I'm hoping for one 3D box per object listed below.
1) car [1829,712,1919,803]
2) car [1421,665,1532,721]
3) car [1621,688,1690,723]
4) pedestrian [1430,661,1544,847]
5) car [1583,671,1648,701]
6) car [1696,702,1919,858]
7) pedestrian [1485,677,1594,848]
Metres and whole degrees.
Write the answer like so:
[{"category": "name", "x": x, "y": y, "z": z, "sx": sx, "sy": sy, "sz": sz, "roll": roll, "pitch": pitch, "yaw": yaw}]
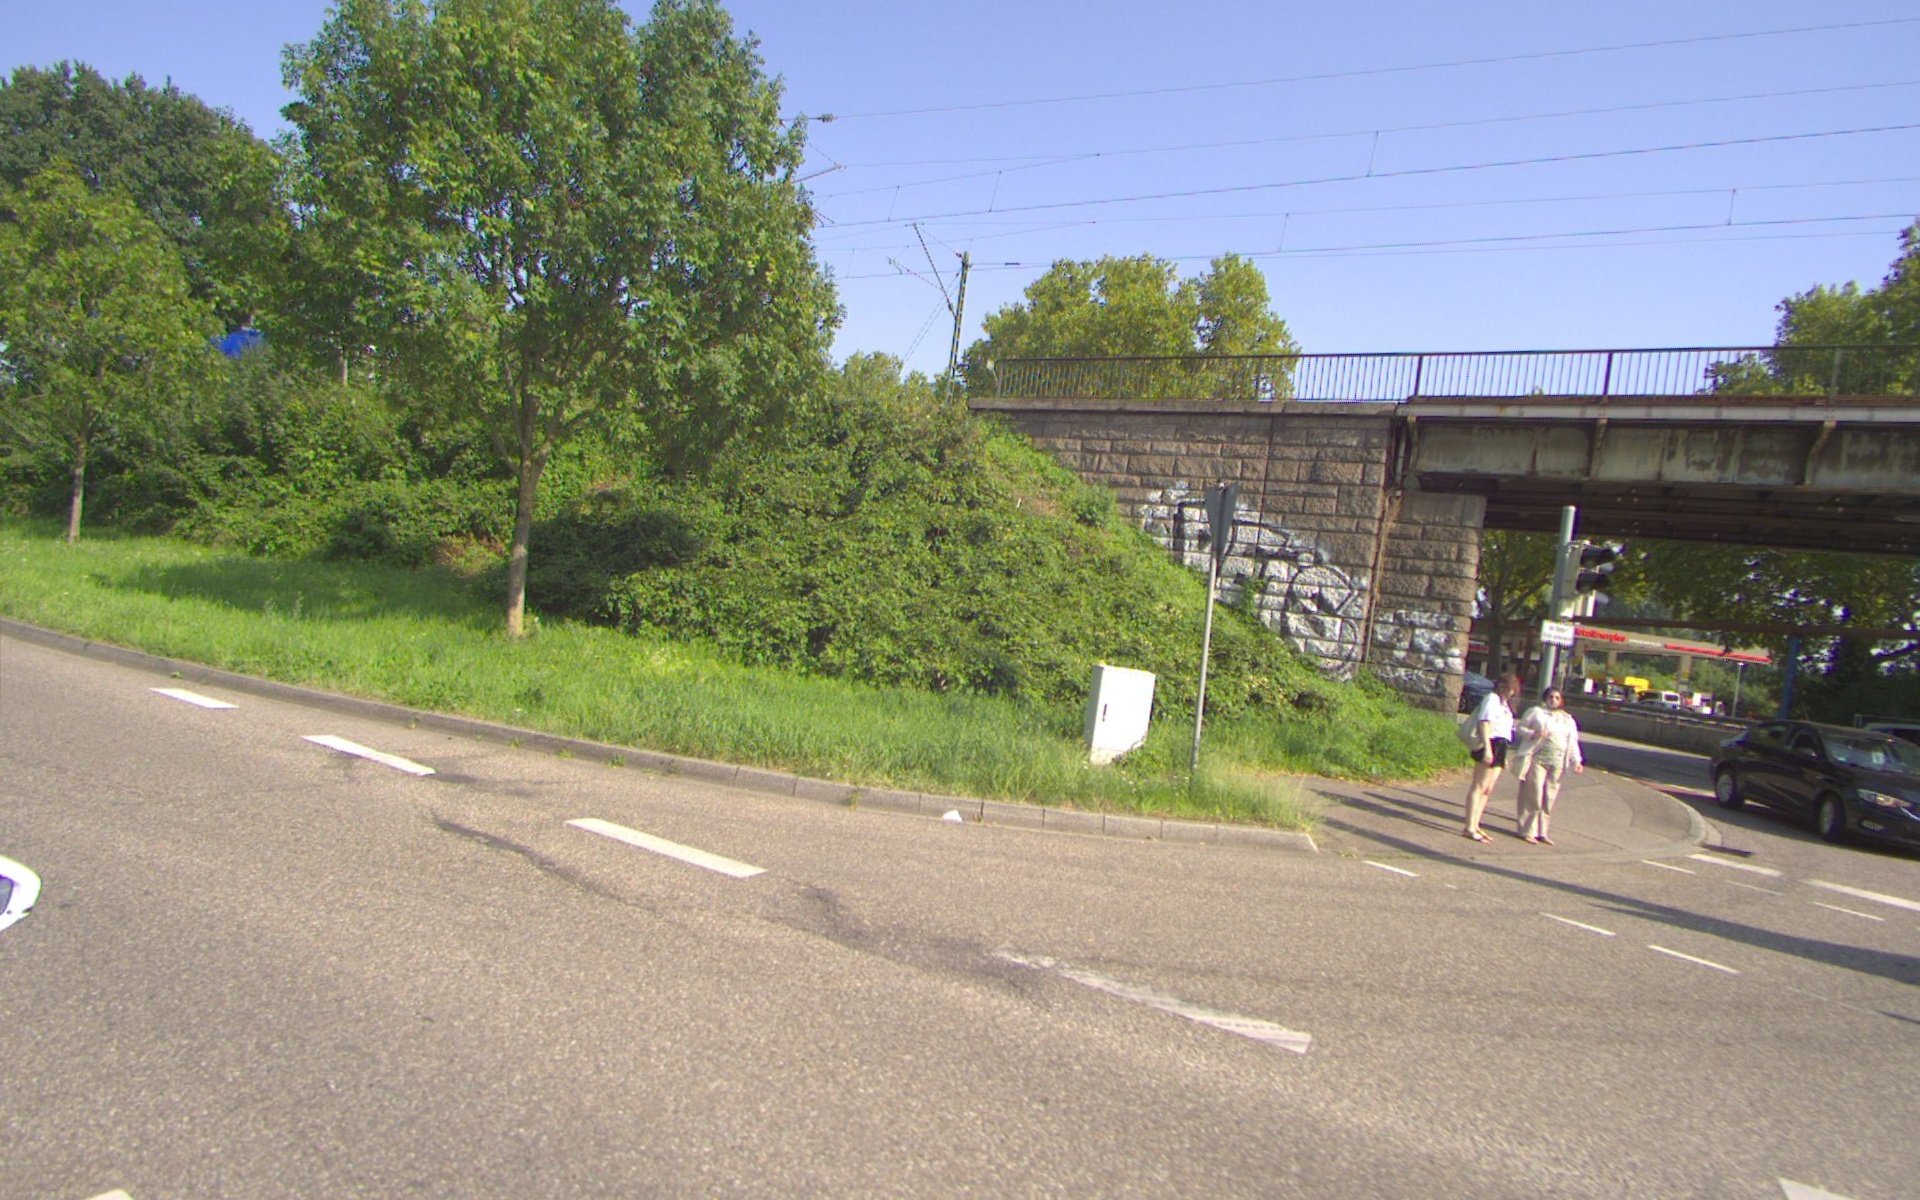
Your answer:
[{"category": "car", "x": 20.392, "y": 3.394, "z": 20.202, "sx": 1.974, "sy": 1.637, "sz": 4.215, "roll": 7, "pitch": 0, "yaw": -2}, {"category": "car", "x": 18.906, "y": 3.374, "z": 37.038, "sx": 1.767, "sy": 1.529, "sz": 3.998, "roll": 6, "pitch": 0, "yaw": -2}, {"category": "car", "x": 53.166, "y": 8.008, "z": 76.996, "sx": 2.091, "sy": 2.038, "sz": 3.997, "roll": 7, "pitch": 0, "yaw": -4}, {"category": "pedestrian", "x": 5.163, "y": 1.503, "z": 9.879, "sx": 0.563, "sy": 1.705, "sz": 0.490, "roll": 7, "pitch": 5, "yaw": -18}, {"category": "car", "x": 58.809, "y": 7.722, "z": 90.337, "sx": 1.964, "sy": 2.038, "sz": 5.107, "roll": 7, "pitch": 0, "yaw": -4}, {"category": "car", "x": 12.394, "y": 2.442, "z": 13.993, "sx": 1.835, "sy": 1.552, "sz": 4.196, "roll": 7, "pitch": -1, "yaw": 13}, {"category": "pedestrian", "x": 5.949, "y": 1.652, "z": 10.358, "sx": 0.526, "sy": 1.588, "sz": 0.571, "roll": 9, "pitch": 5, "yaw": 6}]
